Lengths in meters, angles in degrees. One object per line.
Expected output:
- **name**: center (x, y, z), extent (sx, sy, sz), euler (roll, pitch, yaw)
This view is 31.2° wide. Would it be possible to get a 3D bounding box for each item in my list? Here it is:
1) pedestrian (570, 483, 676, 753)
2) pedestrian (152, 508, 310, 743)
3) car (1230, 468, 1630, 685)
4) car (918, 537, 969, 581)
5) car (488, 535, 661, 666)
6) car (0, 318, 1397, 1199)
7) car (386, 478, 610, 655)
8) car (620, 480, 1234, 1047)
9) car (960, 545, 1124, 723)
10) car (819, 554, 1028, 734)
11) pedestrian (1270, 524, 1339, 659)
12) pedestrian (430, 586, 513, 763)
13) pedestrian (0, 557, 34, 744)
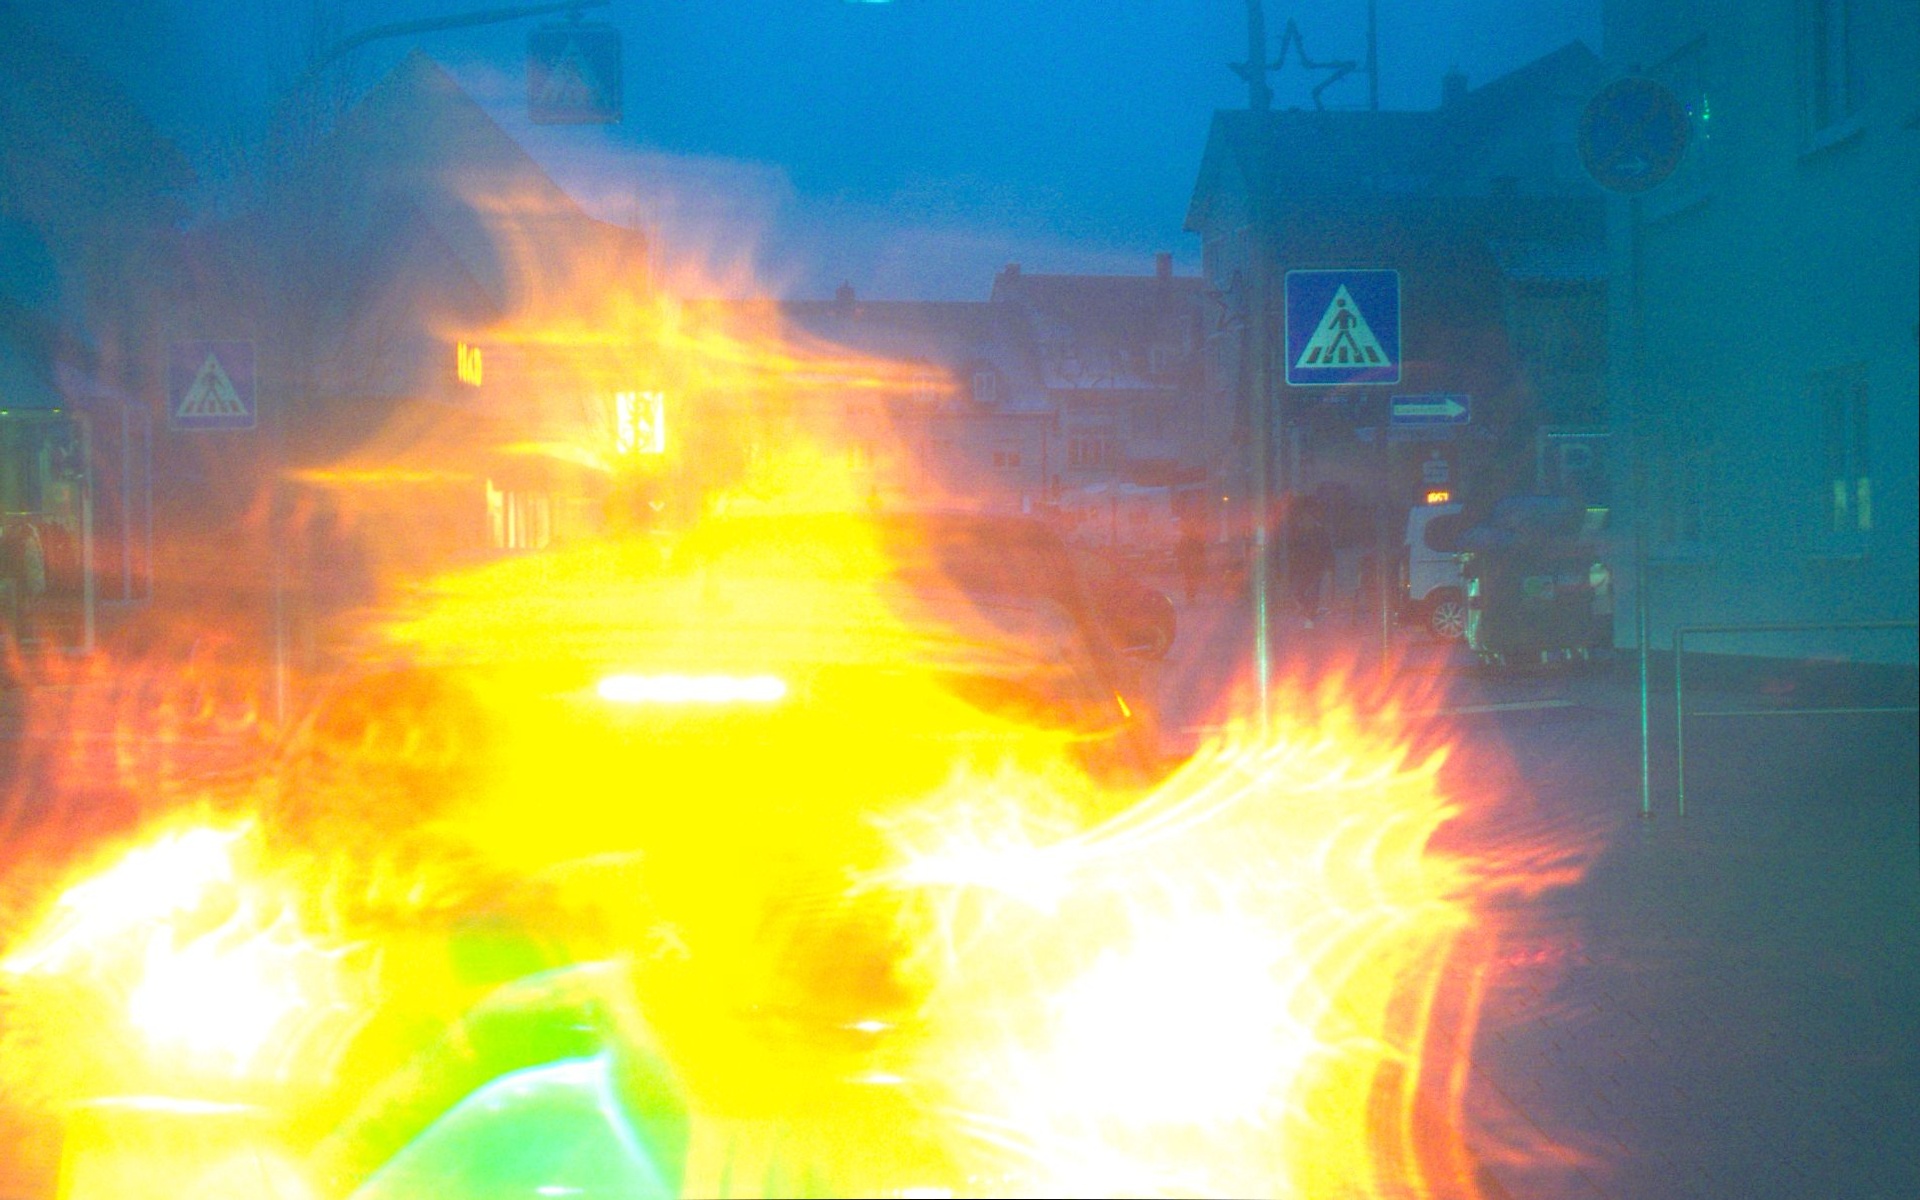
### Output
- **pedestrian**: center (-2.383, 0.119, 24.271), extent (0.703, 1.870, 0.617), euler (1, 2, -6)
- **pedestrian**: center (-5.530, 0.178, 26.132), extent (0.973, 1.736, 0.961), euler (1, 2, 0)
- **car**: center (4.515, -0.228, 33.412), extent (3.697, 2.007, 1.689), euler (1, 0, 3)
- **car**: center (-0.535, -1.366, 113.396), extent (1.534, 1.241, 3.647), euler (-5, 2, 1)
- **car**: center (-5.349, -0.027, 48.196), extent (1.993, 1.746, 4.362), euler (0, 1, -1)
- **car**: center (-0.394, 0.512, 6.362), extent (1.994, 1.789, 4.648), euler (0, 1, 2)
- **car**: center (-5.464, -0.407, 41.169), extent (1.993, 2.007, 4.361), euler (0, 1, 1)
- **car**: center (-0.069, 0.467, 12.148), extent (1.798, 1.656, 4.000), euler (1, 0, 1)
- **car**: center (0.956, 0.362, 41.995), extent (1.641, 2.007, 4.001), euler (-2, 1, -3)
- **car**: center (-0.281, 0.362, 32.874), extent (1.827, 1.596, 4.581), euler (0, 1, 2)
- **pedestrian**: center (5.158, -0.137, 51.554), extent (1.016, 2.007, 1.275), euler (0, 1, 5)
- **pedestrian**: center (-3.436, 0.516, 24.194), extent (0.553, 1.229, 0.434), euler (0, 1, -4)
- **pedestrian**: center (-7.689, 0.349, 26.168), extent (0.890, 1.413, 0.776), euler (6, 0, 4)
